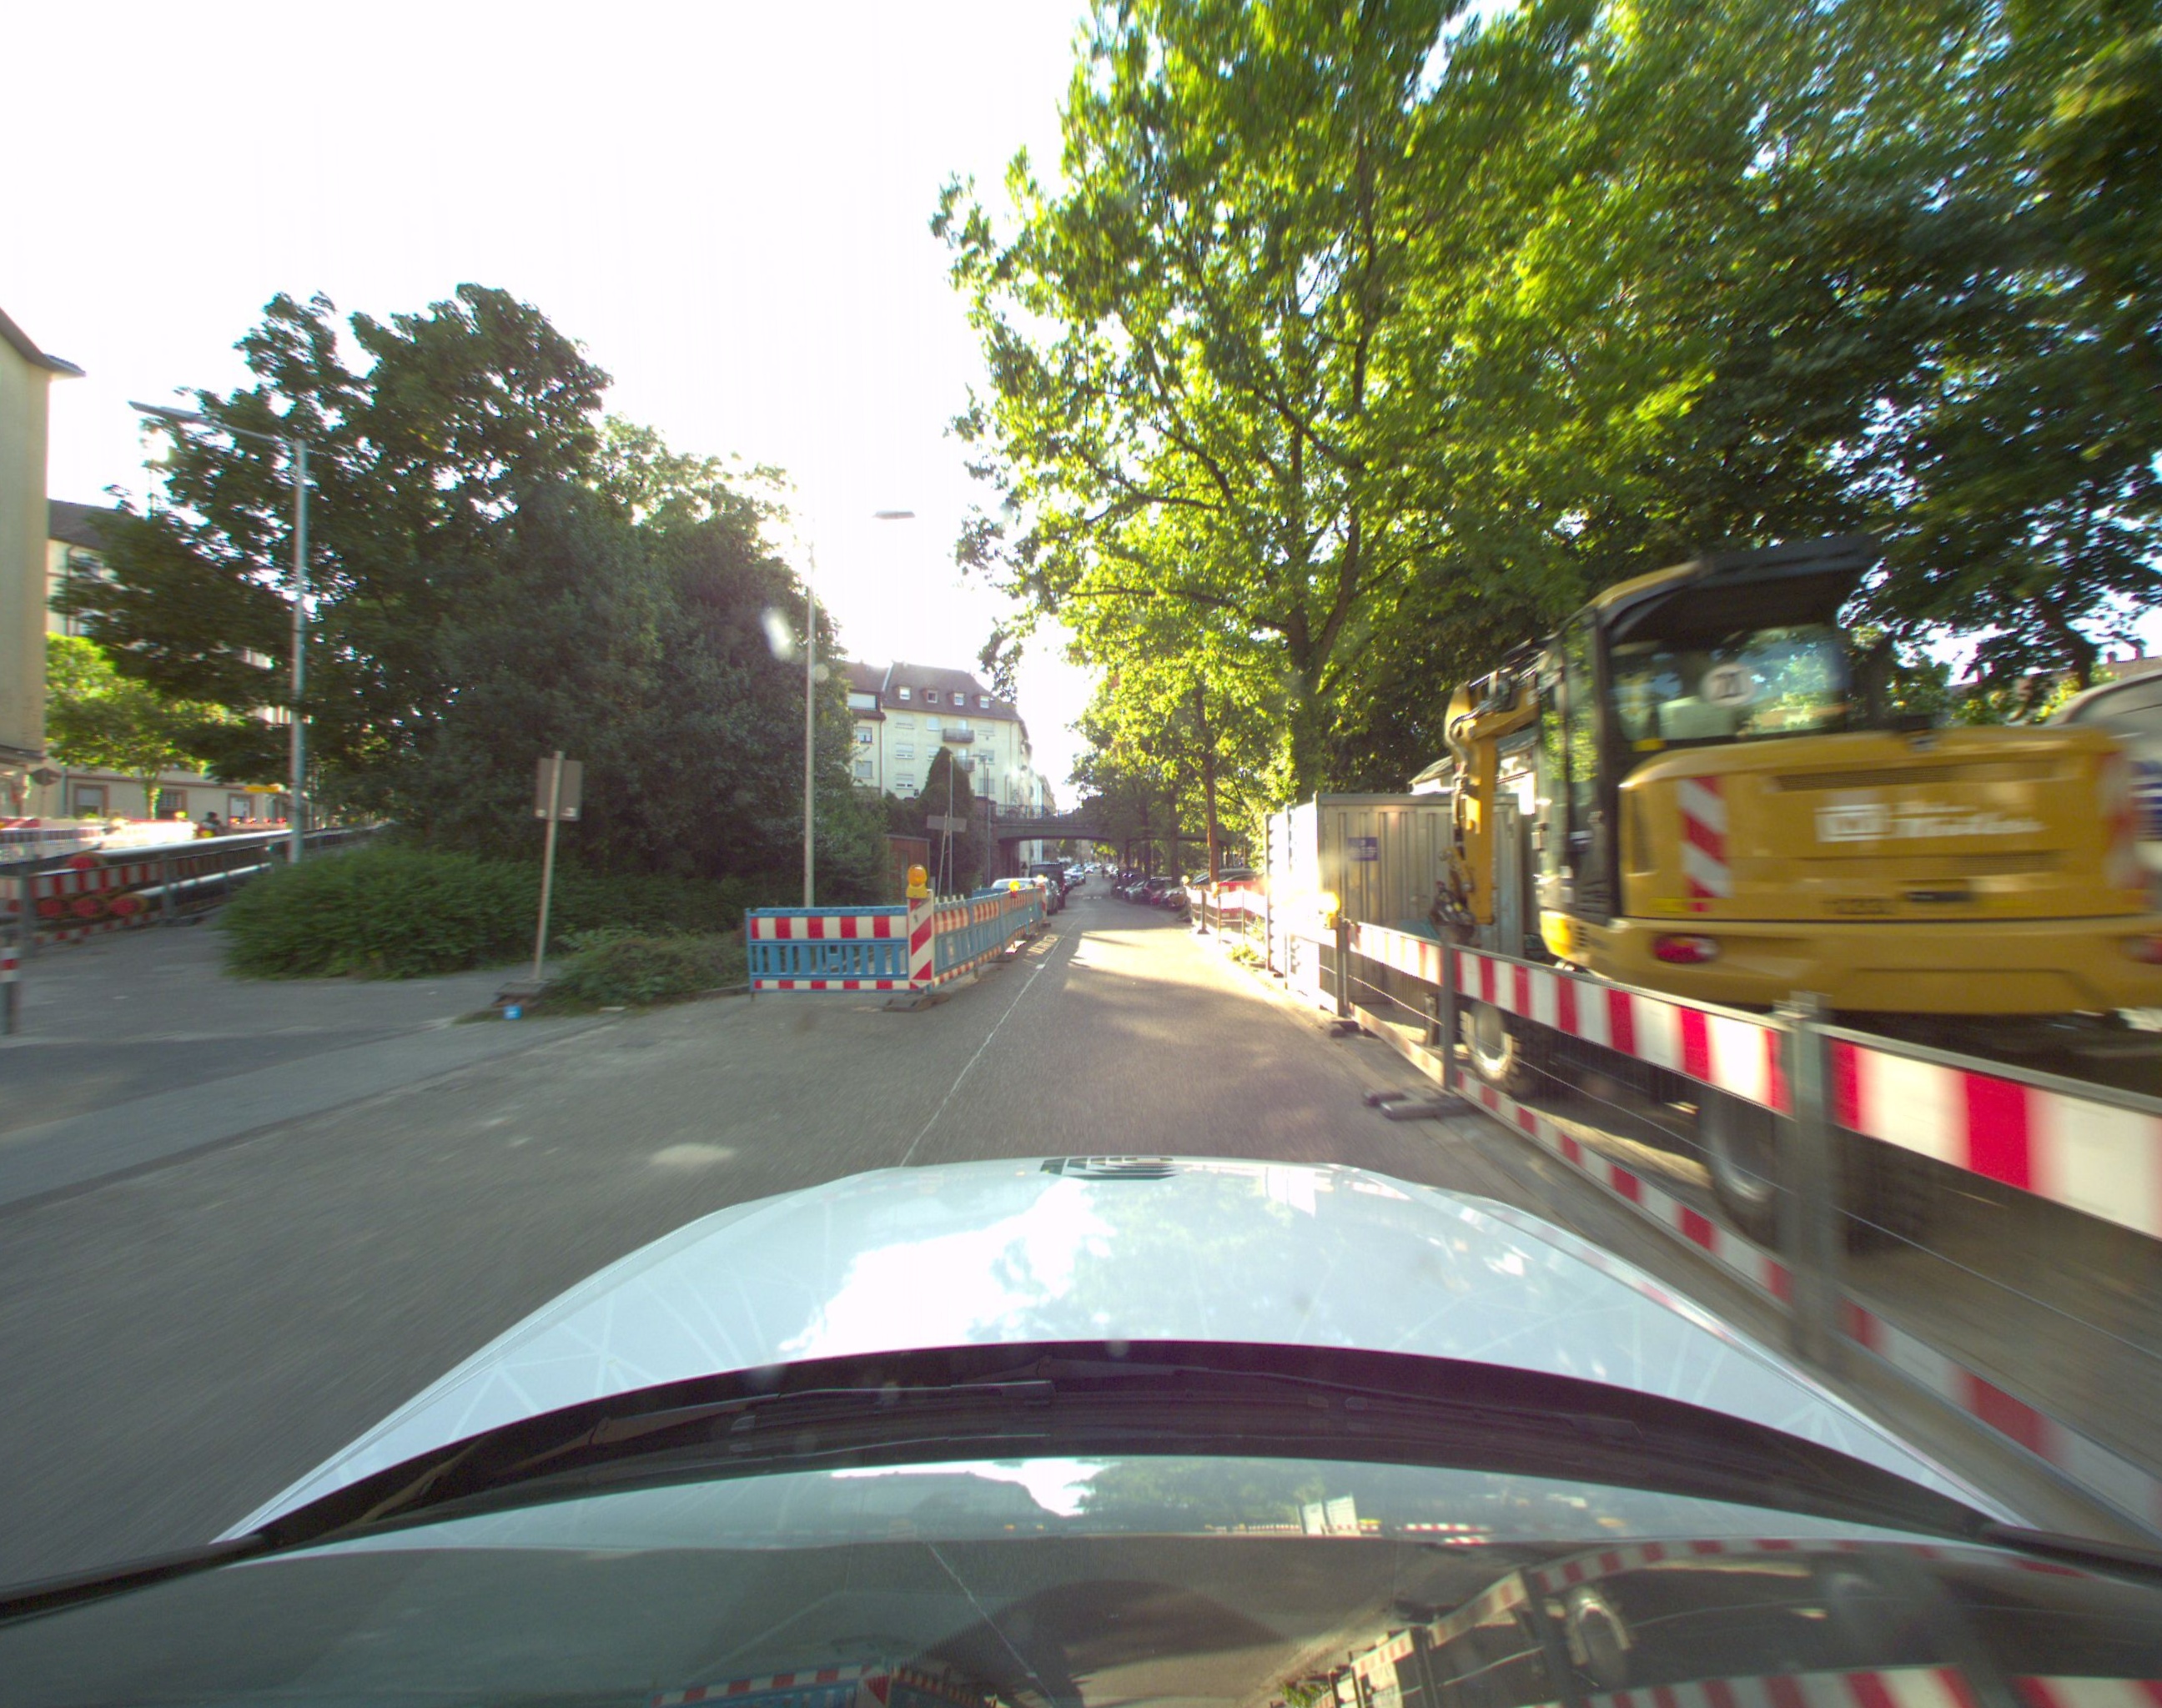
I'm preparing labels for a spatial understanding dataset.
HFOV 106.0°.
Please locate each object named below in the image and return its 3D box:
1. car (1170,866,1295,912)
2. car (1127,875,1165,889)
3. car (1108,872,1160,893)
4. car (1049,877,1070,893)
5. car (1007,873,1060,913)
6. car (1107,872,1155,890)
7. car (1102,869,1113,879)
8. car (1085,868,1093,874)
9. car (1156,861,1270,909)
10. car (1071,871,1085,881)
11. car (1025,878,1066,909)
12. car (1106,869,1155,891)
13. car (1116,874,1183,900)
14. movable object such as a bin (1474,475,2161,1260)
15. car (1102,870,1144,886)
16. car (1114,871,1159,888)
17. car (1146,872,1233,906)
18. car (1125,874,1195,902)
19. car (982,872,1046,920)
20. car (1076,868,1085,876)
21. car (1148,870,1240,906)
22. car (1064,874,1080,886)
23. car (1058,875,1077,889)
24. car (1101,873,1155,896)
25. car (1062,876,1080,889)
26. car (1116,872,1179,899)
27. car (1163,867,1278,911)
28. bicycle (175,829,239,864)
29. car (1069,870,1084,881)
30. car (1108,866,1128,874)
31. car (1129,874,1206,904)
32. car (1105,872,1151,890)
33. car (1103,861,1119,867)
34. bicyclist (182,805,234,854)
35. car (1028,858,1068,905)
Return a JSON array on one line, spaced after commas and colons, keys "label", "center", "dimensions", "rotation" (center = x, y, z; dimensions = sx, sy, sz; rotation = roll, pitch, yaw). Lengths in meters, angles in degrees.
[{"label": "car", "center": [5.718, 1.345, 31.109], "dimensions": [4.376, 1.606, 1.914], "rotation": [1, -3, -3]}, {"label": "car", "center": [7.689, 3.313, 96.651], "dimensions": [4.371, 1.610, 1.781], "rotation": [1, -3, 1]}, {"label": "car", "center": [4.643, 2.502, 71.768], "dimensions": [4.374, 1.785, 1.915], "rotation": [1, -3, -1]}, {"label": "car", "center": [-2.048, 3.031, 79.241], "dimensions": [1.806, 1.398, 3.975], "rotation": [-2, -2, 1]}, {"label": "car", "center": [-1.856, 1.537, 32.965], "dimensions": [1.806, 1.440, 4.350], "rotation": [1, -1, 1]}, {"label": "car", "center": [4.674, 2.551, 76.661], "dimensions": [4.374, 1.610, 1.779], "rotation": [1, -3, -1]}, {"label": "car", "center": [4.635, 3.464, 141.723], "dimensions": [1.768, 1.610, 4.402], "rotation": [1, -2, 2]}, {"label": "car", "center": [1.884, 4.022, 191.699], "dimensions": [1.806, 1.398, 3.975], "rotation": [-2, -2, 1]}, {"label": "car", "center": [5.768, 1.378, 35.919], "dimensions": [4.729, 1.997, 1.915], "rotation": [1, -3, -2]}, {"label": "car", "center": [-0.444, 3.106, 114.010], "dimensions": [1.806, 1.398, 3.975], "rotation": [-2, -2, 1]}, {"label": "car", "center": [-1.752, 2.011, 41.647], "dimensions": [1.806, 1.453, 4.350], "rotation": [-2, -2, 1]}, {"label": "car", "center": [4.467, 2.405, 74.058], "dimensions": [4.374, 1.862, 1.915], "rotation": [1, -3, -1]}, {"label": "car", "center": [4.682, 2.276, 55.928], "dimensions": [4.374, 1.702, 1.915], "rotation": [1, -3, -1]}, {"label": "movable object such as a bin", "center": [3.559, 0.046, 4.455], "dimensions": [1.979, 2.699, 3.123], "rotation": [0, 0, 15]}, {"label": "car", "center": [4.463, 2.595, 86.516], "dimensions": [4.374, 1.610, 1.779], "rotation": [1, -3, -1]}, {"label": "car", "center": [5.576, 2.588, 82.290], "dimensions": [4.374, 1.610, 1.779], "rotation": [1, -3, -1]}, {"label": "car", "center": [5.742, 1.871, 43.336], "dimensions": [4.374, 1.702, 1.915], "rotation": [1, -3, -1]}, {"label": "car", "center": [5.109, 2.215, 53.162], "dimensions": [4.374, 1.702, 1.915], "rotation": [1, -3, -1]}, {"label": "car", "center": [-2.145, 1.366, 27.141], "dimensions": [1.709, 1.418, 4.106], "rotation": [-2, -2, 1]}, {"label": "car", "center": [-0.070, 3.642, 163.838], "dimensions": [1.806, 1.398, 3.975], "rotation": [-2, -2, 1]}, {"label": "car", "center": [5.663, 1.730, 41.037], "dimensions": [4.374, 1.702, 1.915], "rotation": [1, -3, -1]}, {"label": "car", "center": [-1.106, 3.306, 103.674], "dimensions": [1.806, 1.398, 3.975], "rotation": [-2, -2, 1]}, {"label": "car", "center": [-1.402, 2.968, 85.381], "dimensions": [1.806, 1.398, 3.975], "rotation": [-2, -2, 1]}, {"label": "car", "center": [3.846, 2.509, 67.176], "dimensions": [4.374, 1.785, 1.915], "rotation": [1, -3, -1]}, {"label": "car", "center": [-1.090, 3.220, 91.724], "dimensions": [1.806, 1.398, 3.975], "rotation": [-2, -2, 1]}, {"label": "car", "center": [4.726, 2.263, 58.457], "dimensions": [4.374, 1.785, 1.915], "rotation": [1, -3, -1]}, {"label": "car", "center": [5.642, 1.442, 33.285], "dimensions": [4.374, 1.702, 1.915], "rotation": [1, -3, -1]}, {"label": "bicycle", "center": [-25.550, -0.219, 23.846], "dimensions": [0.809, 0.968, 2.086], "rotation": [1, 0, -34]}, {"label": "car", "center": [-0.601, 2.917, 108.819], "dimensions": [1.806, 1.398, 3.975], "rotation": [-2, -2, 1]}, {"label": "car", "center": [7.963, 3.466, 175.130], "dimensions": [4.371, 1.610, 1.781], "rotation": [1, -3, 1]}, {"label": "car", "center": [5.088, 2.086, 48.521], "dimensions": [4.374, 1.702, 1.915], "rotation": [1, -3, -1]}, {"label": "car", "center": [4.527, 2.646, 78.707], "dimensions": [4.374, 1.610, 1.779], "rotation": [1, -3, -1]}, {"label": "car", "center": [8.475, 2.695, 227.029], "dimensions": [4.371, 1.610, 1.781], "rotation": [1, -3, 1]}, {"label": "bicyclist", "center": [-25.562, -0.708, 23.864], "dimensions": [0.809, 1.383, 0.975], "rotation": [1, 0, -34]}, {"label": "car", "center": [-1.821, 1.579, 46.780], "dimensions": [2.041, 2.498, 5.694], "rotation": [1, -2, -1]}]
